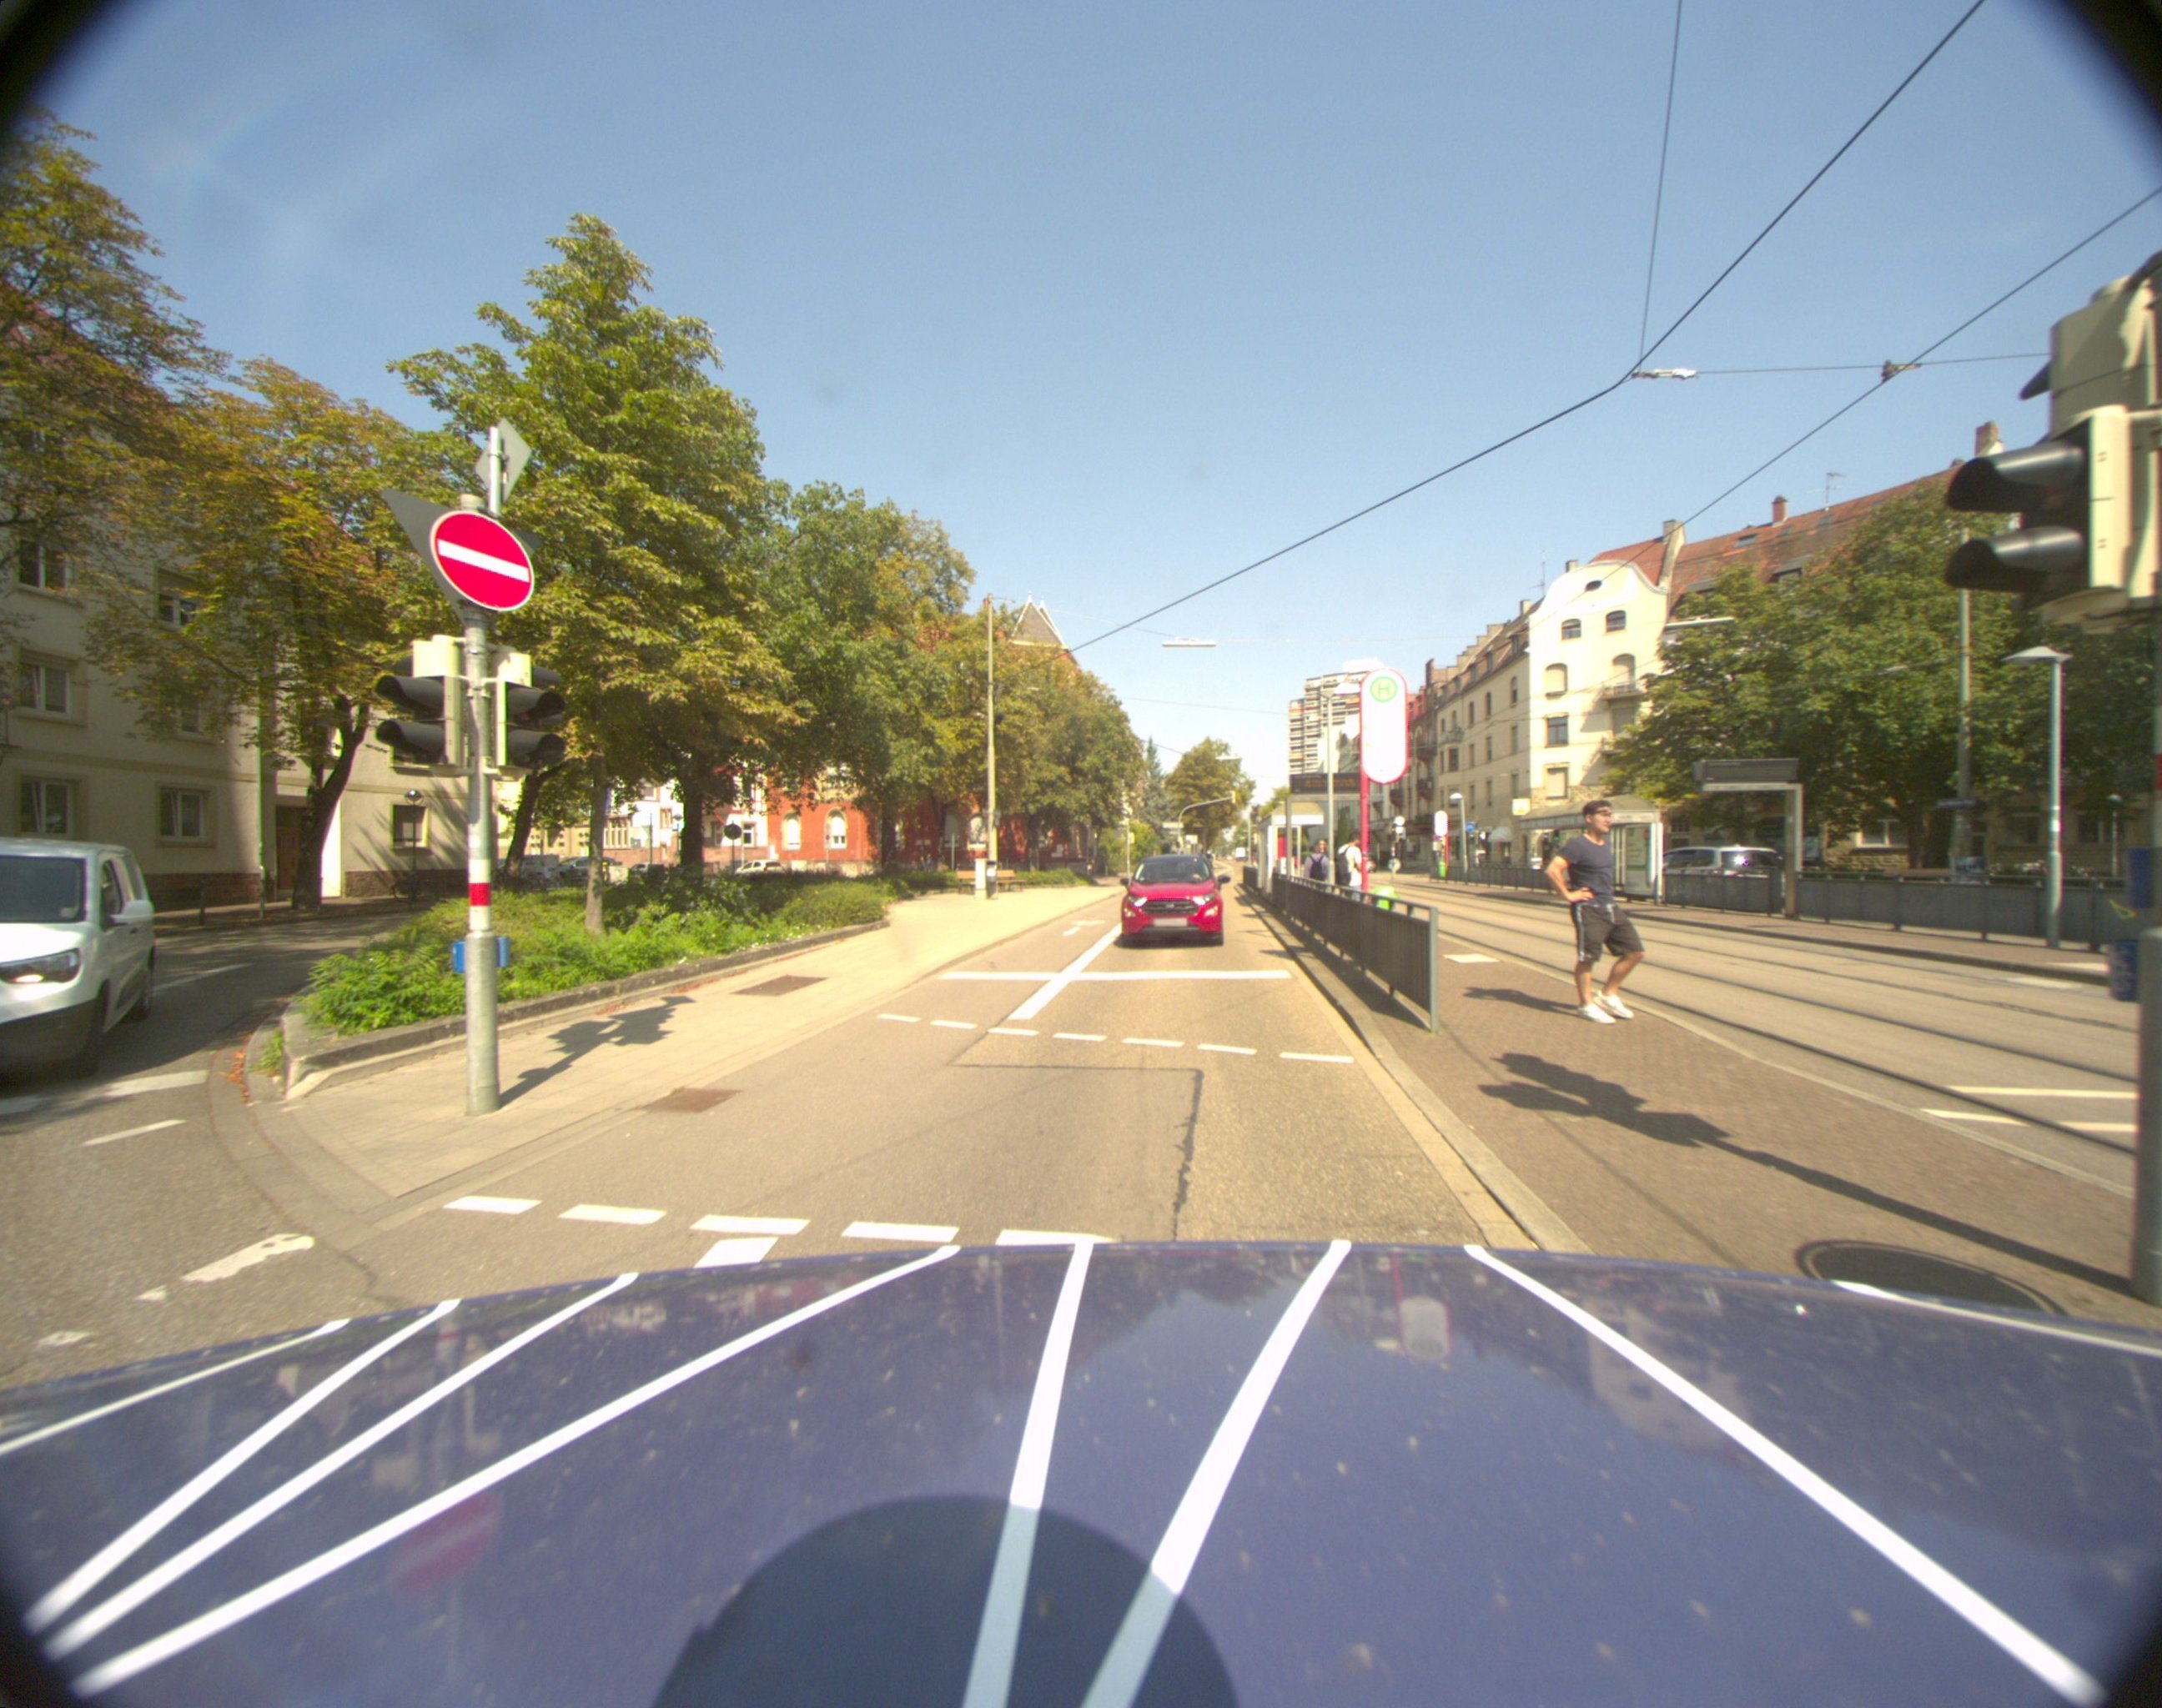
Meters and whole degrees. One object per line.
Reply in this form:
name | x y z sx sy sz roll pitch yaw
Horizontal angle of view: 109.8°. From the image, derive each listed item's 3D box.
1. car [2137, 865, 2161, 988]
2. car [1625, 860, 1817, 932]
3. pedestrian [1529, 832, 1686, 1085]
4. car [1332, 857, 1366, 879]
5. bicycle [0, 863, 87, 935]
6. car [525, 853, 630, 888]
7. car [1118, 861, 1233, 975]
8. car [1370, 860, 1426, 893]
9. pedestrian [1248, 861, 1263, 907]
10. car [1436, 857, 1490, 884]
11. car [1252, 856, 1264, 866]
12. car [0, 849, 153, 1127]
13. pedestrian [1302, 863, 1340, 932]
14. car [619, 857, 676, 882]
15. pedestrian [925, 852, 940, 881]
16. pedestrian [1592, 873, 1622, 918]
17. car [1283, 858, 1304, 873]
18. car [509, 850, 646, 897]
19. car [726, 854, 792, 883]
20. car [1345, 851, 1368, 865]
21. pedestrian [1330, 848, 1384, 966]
car | 14.976 0.984 7.943 1.996 1.638 4.635 1 0 13
car | 17.517 1.064 21.176 1.997 1.716 4.634 1 0 10
pedestrian | 4.232 0.777 6.124 0.924 1.874 0.674 0 0 -26
car | 22.521 1.155 63.994 1.997 1.716 4.634 1 0 10
bicycle | -21.846 0.903 15.177 0.891 1.401 2.353 -2 0 -3
car | -27.448 0.857 41.512 1.799 1.801 4.425 0 0 36
car | 1.855 1.067 14.547 1.802 1.801 4.419 -2 0 8
car | 17.667 1.198 42.536 1.997 1.716 4.635 1 0 11
pedestrian | 6.529 1.120 28.449 0.535 1.684 0.833 0 0 12
car | 25.753 1.090 51.404 1.997 1.716 4.634 1 0 10
car | 33.455 1.283 143.504 1.997 1.716 4.634 1 0 10
car | -9.030 0.872 5.989 4.403 1.801 1.808 0 0 44
pedestrian | 5.670 1.017 18.001 0.738 1.575 0.854 0 0 9
car | -32.139 1.140 56.290 4.403 1.801 1.808 0 0 33
pedestrian | -9.789 0.827 50.101 0.677 1.874 0.920 0 0 -31
pedestrian | 14.833 1.163 21.439 0.479 1.243 0.649 0 0 10
car | 25.368 1.354 90.857 1.997 1.716 4.634 1 0 10
car | -20.877 0.756 31.652 1.799 1.801 4.426 2 1 41
car | -21.186 0.920 49.957 4.403 1.801 1.808 0 0 33
car | 35.133 0.510 96.945 1.997 1.716 4.634 1 0 10
pedestrian | 4.532 0.844 12.541 0.674 1.874 0.923 0 0 9
